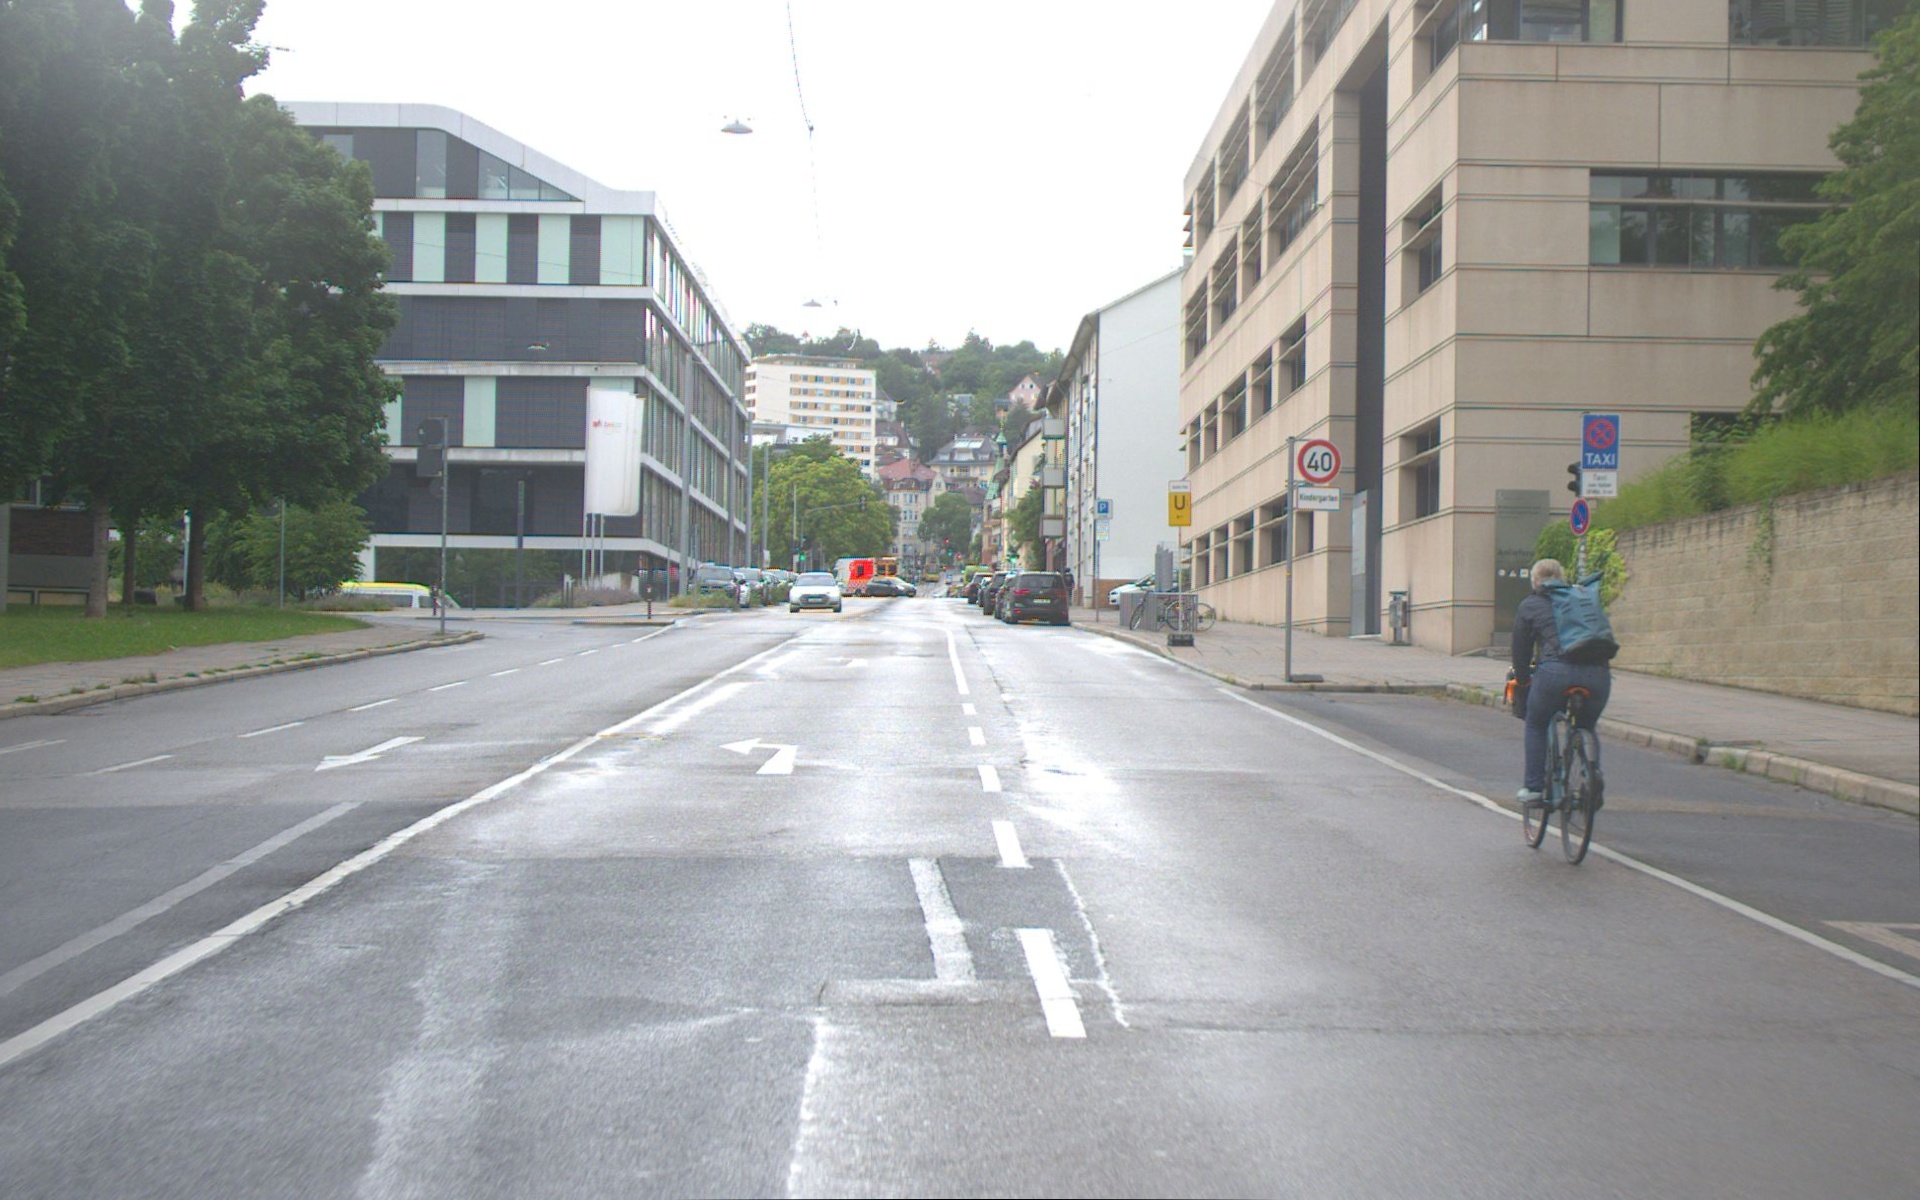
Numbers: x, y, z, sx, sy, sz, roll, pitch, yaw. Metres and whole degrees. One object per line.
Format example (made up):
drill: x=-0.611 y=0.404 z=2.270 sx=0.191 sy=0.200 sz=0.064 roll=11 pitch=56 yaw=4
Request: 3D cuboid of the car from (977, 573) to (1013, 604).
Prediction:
car: x=1.751 y=-0.580 z=172.699 sx=1.706 sy=1.449 sz=3.984 roll=2 pitch=0 yaw=-1

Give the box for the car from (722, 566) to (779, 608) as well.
car: x=-9.162 y=-0.544 z=150.591 sx=1.963 sy=1.744 sz=4.941 roll=2 pitch=0 yaw=2

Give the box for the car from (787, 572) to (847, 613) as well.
car: x=-5.413 y=-0.294 z=130.725 sx=1.881 sy=1.486 sz=5.219 roll=-1 pitch=0 yaw=2

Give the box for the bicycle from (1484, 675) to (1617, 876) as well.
bicycle: x=3.150 y=0.917 z=18.441 sx=0.447 sy=0.960 sz=1.690 roll=2 pitch=1 yaw=2

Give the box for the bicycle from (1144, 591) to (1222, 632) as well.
bicycle: x=5.310 y=0.270 z=81.911 sx=1.758 sy=0.950 sz=0.660 roll=1 pitch=0 yaw=-3

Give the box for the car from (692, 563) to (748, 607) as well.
car: x=-9.318 y=-0.576 z=133.744 sx=1.849 sy=1.612 sz=4.491 roll=2 pitch=0 yaw=0

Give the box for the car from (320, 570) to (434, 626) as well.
car: x=-24.758 y=-0.083 z=146.040 sx=4.589 sy=2.167 sz=1.931 roll=2 pitch=0 yaw=-6

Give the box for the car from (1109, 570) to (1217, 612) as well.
car: x=8.666 y=-0.383 z=147.123 sx=4.438 sy=1.707 sz=1.905 roll=-1 pitch=0 yaw=-1

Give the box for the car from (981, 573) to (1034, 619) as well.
car: x=1.901 y=-0.156 z=138.355 sx=1.935 sy=1.744 sz=4.797 roll=2 pitch=0 yaw=-1

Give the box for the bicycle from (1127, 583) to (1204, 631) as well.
bicycle: x=4.951 y=0.165 z=82.891 sx=1.729 sy=1.115 sz=0.660 roll=1 pitch=0 yaw=-5

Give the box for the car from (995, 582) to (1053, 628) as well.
car: x=2.244 y=0.176 z=121.461 sx=1.743 sy=1.528 sz=4.320 roll=2 pitch=0 yaw=-2

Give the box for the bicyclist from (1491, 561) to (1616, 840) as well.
bicyclist: x=3.152 y=0.523 z=18.303 sx=0.484 sy=1.428 sz=0.930 roll=2 pitch=0 yaw=2

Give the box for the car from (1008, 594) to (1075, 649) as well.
car: x=2.473 y=0.638 z=105.698 sx=1.771 sy=1.598 sz=4.395 roll=2 pitch=0 yaw=-2
